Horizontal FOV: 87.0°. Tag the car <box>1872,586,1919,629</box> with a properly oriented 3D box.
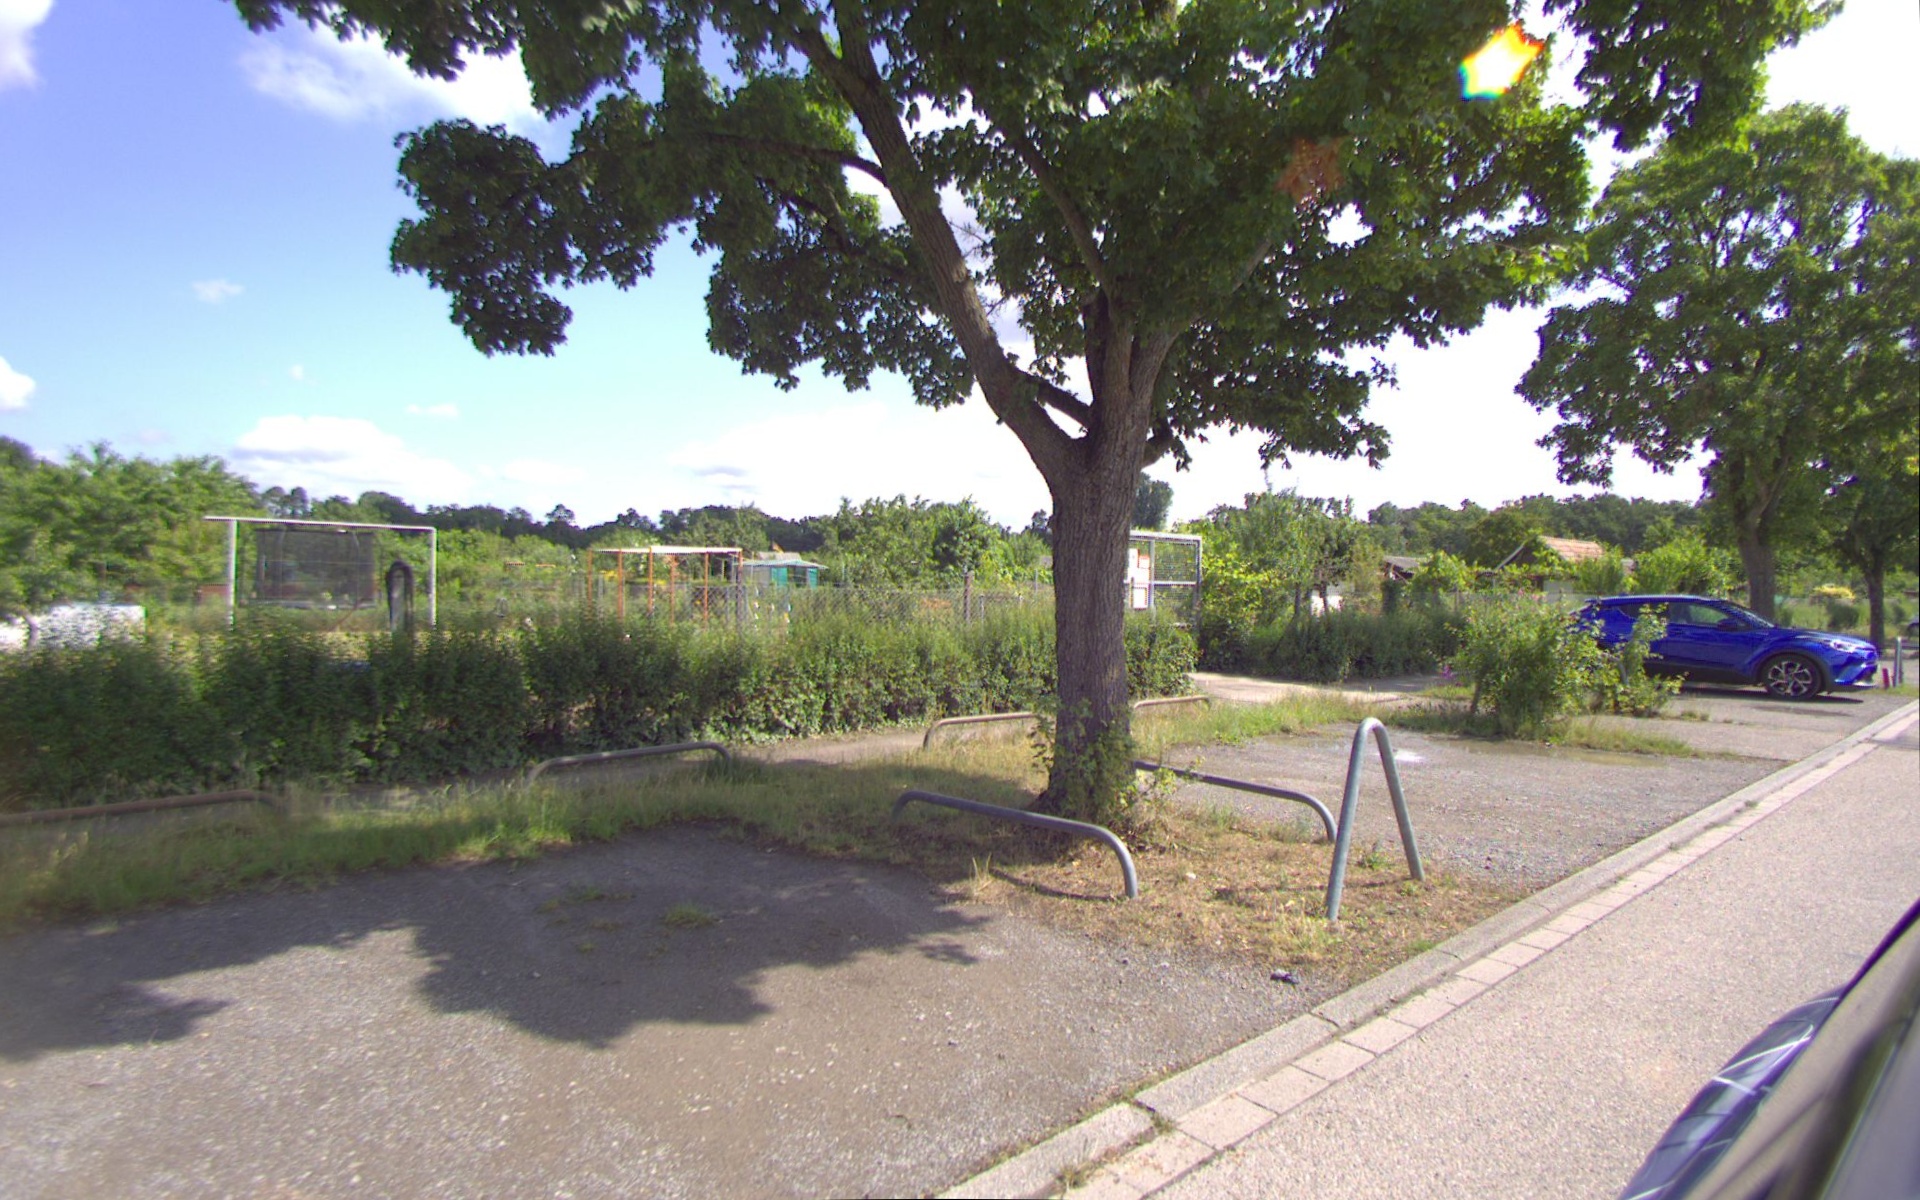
[{"bbox_3d":[41.252,0.296,42.682,1.965,1.772,3.926,-1,0,-40],"label":"car"}]

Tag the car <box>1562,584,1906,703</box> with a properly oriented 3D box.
[{"bbox_3d":[12.220,0.574,16.190,1.750,1.602,4.112,0,1,-42],"label":"car"}]
